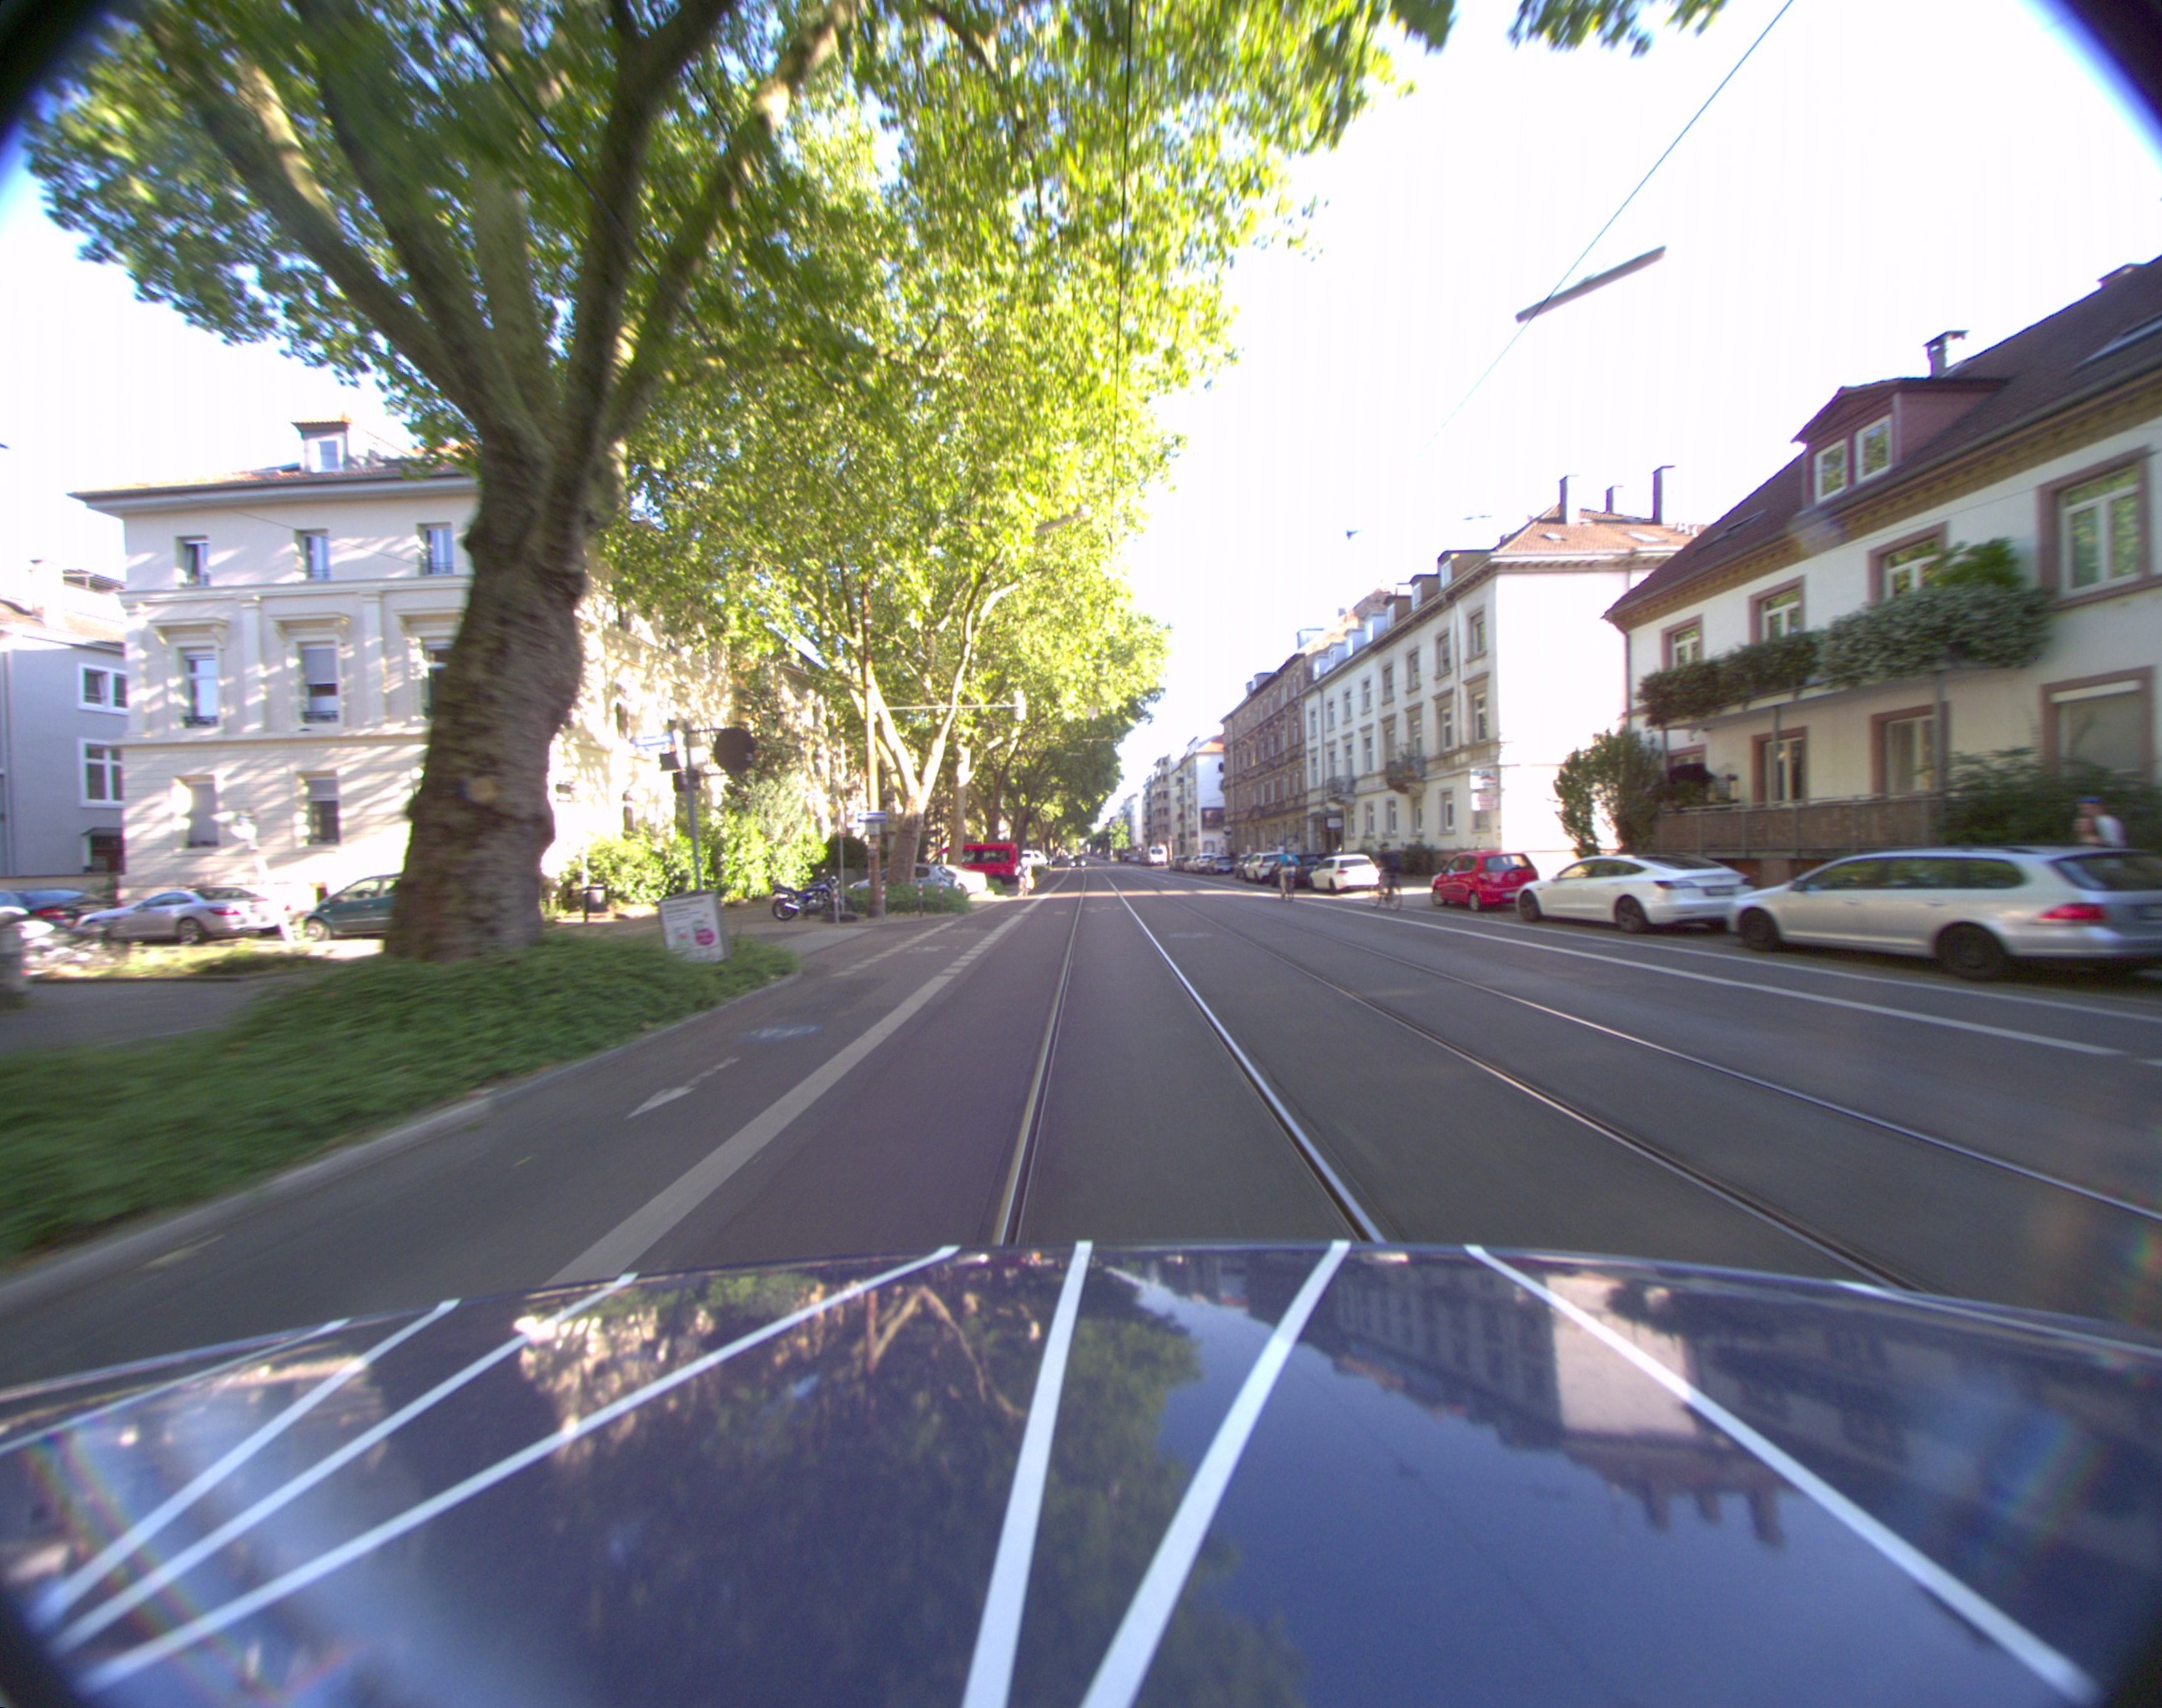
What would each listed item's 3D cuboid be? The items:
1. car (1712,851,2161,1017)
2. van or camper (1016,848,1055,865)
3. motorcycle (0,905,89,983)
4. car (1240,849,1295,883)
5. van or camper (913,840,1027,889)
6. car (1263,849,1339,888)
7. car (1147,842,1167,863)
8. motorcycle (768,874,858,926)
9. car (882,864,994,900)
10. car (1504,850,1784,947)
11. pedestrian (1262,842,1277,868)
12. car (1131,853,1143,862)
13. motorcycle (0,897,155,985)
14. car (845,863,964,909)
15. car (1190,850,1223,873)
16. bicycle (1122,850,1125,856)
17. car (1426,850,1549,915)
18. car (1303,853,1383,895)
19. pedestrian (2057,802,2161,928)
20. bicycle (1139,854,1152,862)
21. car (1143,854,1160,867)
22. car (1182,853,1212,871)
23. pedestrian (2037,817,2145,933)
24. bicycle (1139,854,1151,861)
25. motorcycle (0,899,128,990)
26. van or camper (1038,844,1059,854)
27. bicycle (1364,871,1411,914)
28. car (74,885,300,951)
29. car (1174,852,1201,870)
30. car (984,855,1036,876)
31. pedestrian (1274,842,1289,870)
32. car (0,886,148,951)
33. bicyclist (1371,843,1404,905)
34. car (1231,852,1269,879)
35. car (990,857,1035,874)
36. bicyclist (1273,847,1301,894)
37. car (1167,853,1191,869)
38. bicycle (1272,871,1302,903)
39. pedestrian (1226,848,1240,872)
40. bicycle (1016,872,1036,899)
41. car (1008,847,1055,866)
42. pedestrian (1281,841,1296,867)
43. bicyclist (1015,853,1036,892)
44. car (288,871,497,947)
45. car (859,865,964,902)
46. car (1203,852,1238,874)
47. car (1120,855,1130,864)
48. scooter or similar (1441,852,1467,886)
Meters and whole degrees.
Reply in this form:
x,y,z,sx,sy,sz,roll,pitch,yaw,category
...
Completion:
x,y,z,sx,sy,sz,roll,pitch,yaw,category
10.653,0.753,9.450,1.832,1.494,4.449,-3,0,-1,car
-7.086,0.381,119.415,6.048,2.476,2.107,-1,1,-1,van or camper
-19.115,1.621,13.202,0.495,1.289,2.185,-3,0,19,motorcycle
10.055,0.617,41.280,1.861,1.693,4.762,-1,0,1,car
-5.868,0.557,40.767,5.831,2.504,2.287,0,0,-2,van or camper
10.267,0.645,35.848,1.862,1.693,4.657,-1,0,-5,car
9.754,-0.239,97.866,2.070,2.521,5.666,-2,0,1,car
-7.163,1.206,20.375,2.174,1.221,0.474,-3,1,-27,motorcycle
-5.903,1.150,31.749,4.296,1.409,1.760,0,0,1,car
10.572,0.731,14.837,1.832,1.494,4.687,-3,0,-2,car
13.458,0.064,54.276,0.761,1.810,0.830,-2,1,-3,pedestrian
9.811,0.645,133.257,1.694,1.482,4.728,-2,0,0,car
-16.996,1.415,12.494,0.495,1.289,2.186,-3,-1,19,motorcycle
-6.141,1.104,26.763,3.760,1.499,1.681,-1,0,0,car
10.160,0.565,61.641,1.791,1.713,4.718,-3,0,0,car
7.671,-0.207,136.675,0.422,1.144,2.231,-1,1,-1,bicycle
10.627,0.683,20.115,1.573,1.553,3.449,-1,0,4,car
10.451,0.747,30.666,1.691,1.468,4.257,-3,0,0,car
14.051,0.142,10.353,0.775,1.625,0.656,-3,1,-16,pedestrian
9.990,0.632,117.263,1.897,1.032,0.402,-3,1,6,bicycle
9.578,0.819,103.039,1.723,1.622,4.346,-2,0,-2,car
10.151,0.681,66.784,1.704,1.412,3.998,-3,0,-4,car
13.343,0.265,10.047,0.637,1.452,0.656,-3,1,-16,pedestrian
10.209,0.529,120.830,1.935,1.112,0.440,-3,1,6,bicycle
-18.127,1.556,12.935,0.569,1.423,2.289,-2,0,15,motorcycle
-7.112,-0.994,166.408,4.389,2.097,1.837,-1,1,-4,van or camper
8.233,1.007,20.461,0.486,1.041,2.039,0,0,2,bicycle
-21.861,1.539,18.671,3.664,1.318,1.630,-2,2,3,car
10.080,0.634,72.139,1.745,1.553,4.785,-3,0,-1,car
-5.995,0.935,64.421,4.274,1.709,1.848,1,0,-3,car
14.351,0.129,54.345,0.761,2.002,0.830,-2,1,-2,pedestrian
-26.634,1.646,19.247,4.082,1.406,1.657,-2,2,4,car
8.203,0.525,20.369,0.536,1.625,0.896,0,1,2,bicyclist
10.229,0.665,46.234,1.557,1.506,3.924,-1,0,2,car
-6.287,1.067,69.768,4.040,1.471,1.680,-1,0,-6,car
6.613,0.516,24.400,0.640,1.494,1.069,0,1,1,bicyclist
9.969,0.667,77.295,1.745,1.483,4.044,-3,0,-1,car
6.635,1.038,24.536,0.500,0.937,1.921,0,0,2,bicycle
11.876,0.470,59.392,0.686,1.790,1.056,-3,1,-9,pedestrian
-2.254,1.285,31.499,0.596,0.998,2.511,-4,0,0,bicycle
-6.508,0.355,100.911,6.006,2.269,2.006,-1,0,1,car
13.423,0.008,49.193,0.663,1.656,0.770,-2,1,31,pedestrian
-2.298,0.753,31.430,0.615,1.543,0.935,-6,1,0,bicyclist
-16.593,1.303,18.433,3.480,1.580,1.630,-1,4,2,car
-6.502,1.118,29.459,3.762,1.379,1.680,0,0,-6,car
10.250,0.634,56.125,1.667,1.512,4.063,-3,0,-2,car
8.648,1.068,149.057,1.660,1.591,4.201,-3,0,-1,car
14.489,0.575,29.557,0.447,1.272,1.576,-1,0,8,scooter or similar
